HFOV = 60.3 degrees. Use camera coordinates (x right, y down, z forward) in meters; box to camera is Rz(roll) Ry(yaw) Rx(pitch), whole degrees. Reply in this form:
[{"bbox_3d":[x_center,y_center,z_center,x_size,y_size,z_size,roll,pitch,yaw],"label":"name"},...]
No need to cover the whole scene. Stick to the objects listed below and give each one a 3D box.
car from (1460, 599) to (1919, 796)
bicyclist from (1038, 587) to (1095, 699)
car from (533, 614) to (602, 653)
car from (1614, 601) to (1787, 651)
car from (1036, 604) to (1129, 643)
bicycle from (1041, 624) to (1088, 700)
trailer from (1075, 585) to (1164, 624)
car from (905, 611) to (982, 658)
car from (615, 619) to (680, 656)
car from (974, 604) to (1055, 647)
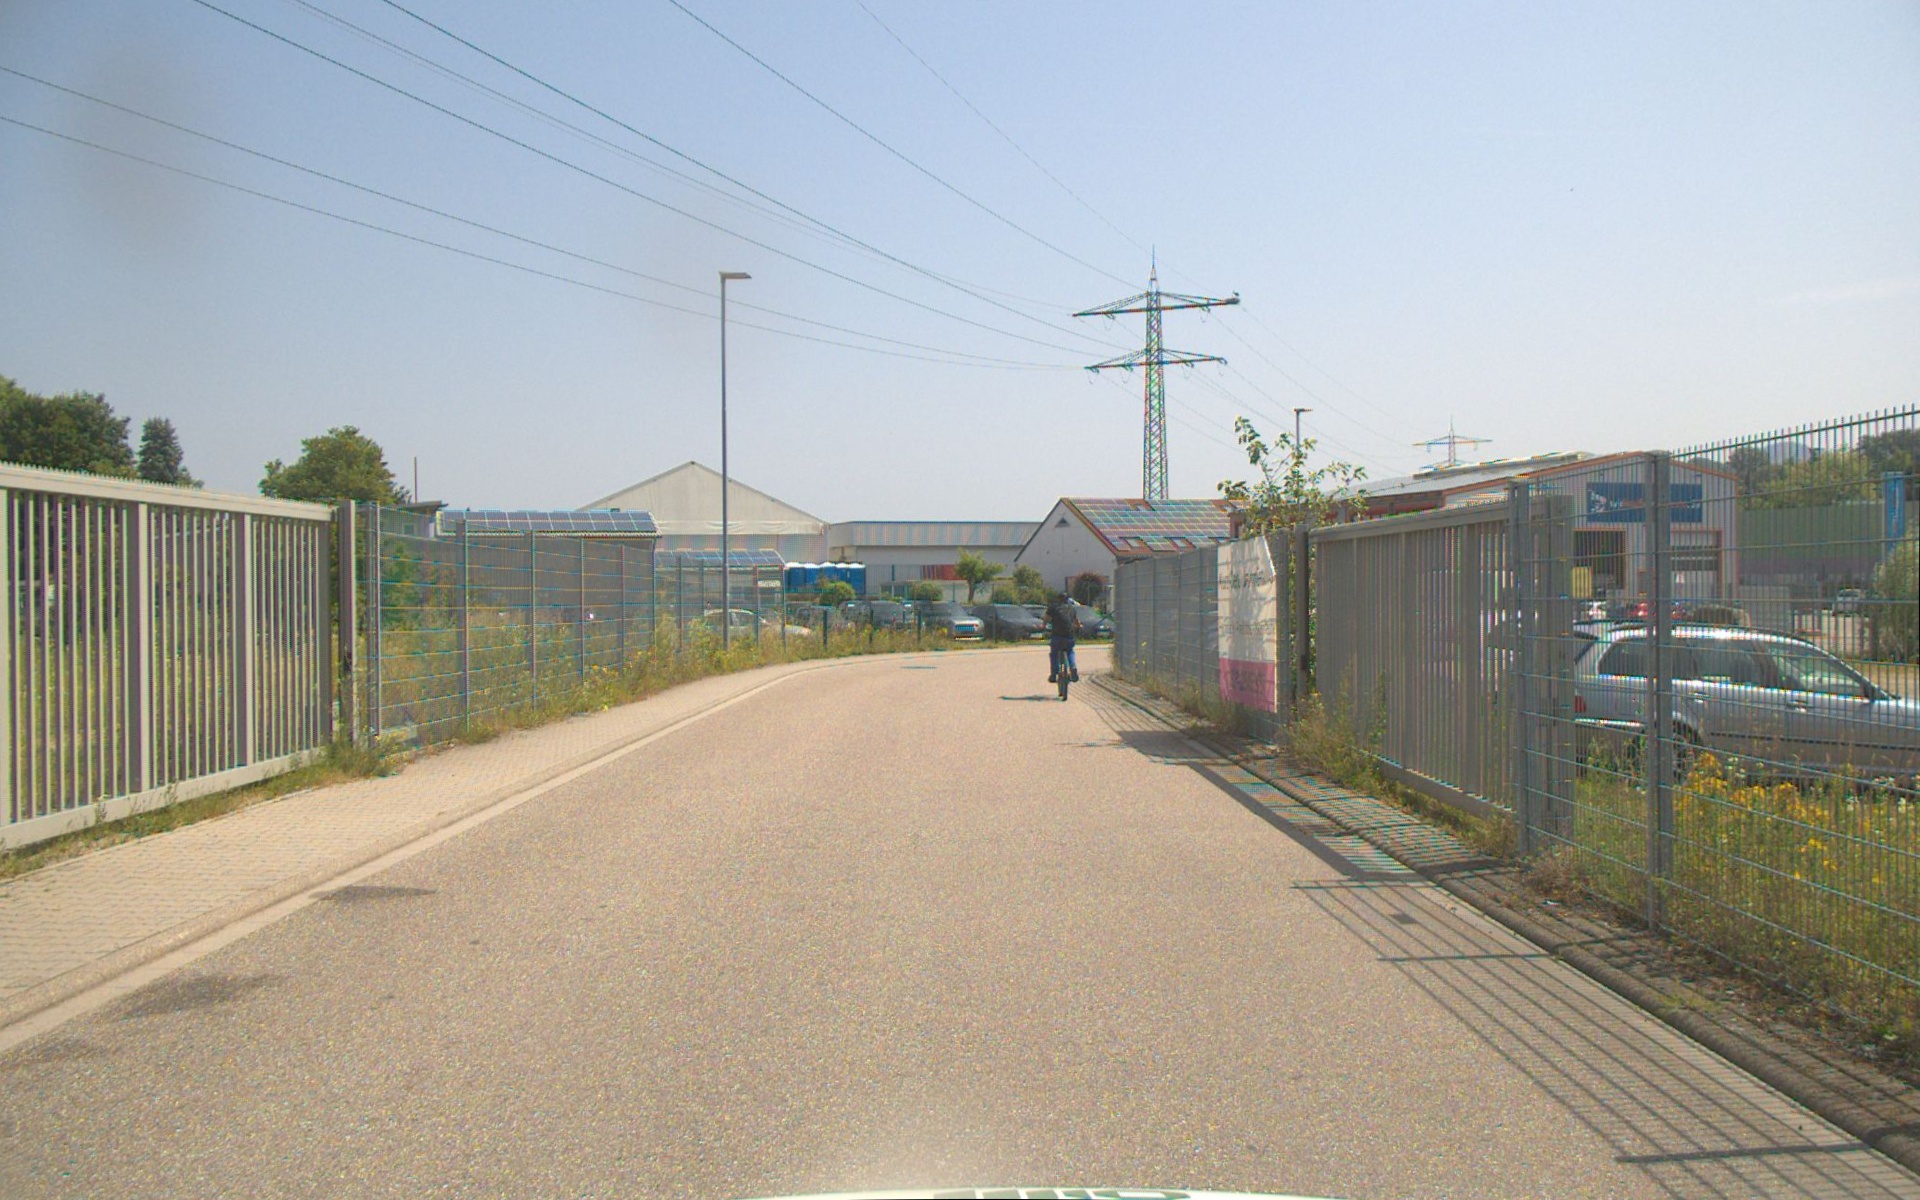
[{"bbox_3d":[6.689,0.827,14.481,4.082,1.500,1.636,2,0,-4],"label":"car"},{"bbox_3d":[1.620,0.635,25.155,0.825,1.646,1.040,1,1,3],"label":"bicyclist"},{"bbox_3d":[-15.092,1.265,63.512,1.840,1.439,3.411,0,0,-27],"label":"car"},{"bbox_3d":[20.040,0.682,44.850,1.890,1.300,3.871,0,0,-41],"label":"car"},{"bbox_3d":[4.747,0.910,64.870,1.966,1.460,4.639,0,0,-19],"label":"car"},{"bbox_3d":[1.582,0.926,25.233,0.670,1.070,1.901,1,0,3],"label":"bicycle"},{"bbox_3d":[8.297,0.224,86.235,4.360,1.979,1.712,-1,0,-5],"label":"trailer"},{"bbox_3d":[-0.654,1.279,62.617,1.835,1.672,3.613,0,0,-19],"label":"car"},{"bbox_3d":[-11.953,1.398,63.126,1.836,1.321,3.419,0,0,-21],"label":"car"},{"bbox_3d":[2.043,0.962,63.065,1.835,1.581,3.749,0,0,-19],"label":"car"}]
